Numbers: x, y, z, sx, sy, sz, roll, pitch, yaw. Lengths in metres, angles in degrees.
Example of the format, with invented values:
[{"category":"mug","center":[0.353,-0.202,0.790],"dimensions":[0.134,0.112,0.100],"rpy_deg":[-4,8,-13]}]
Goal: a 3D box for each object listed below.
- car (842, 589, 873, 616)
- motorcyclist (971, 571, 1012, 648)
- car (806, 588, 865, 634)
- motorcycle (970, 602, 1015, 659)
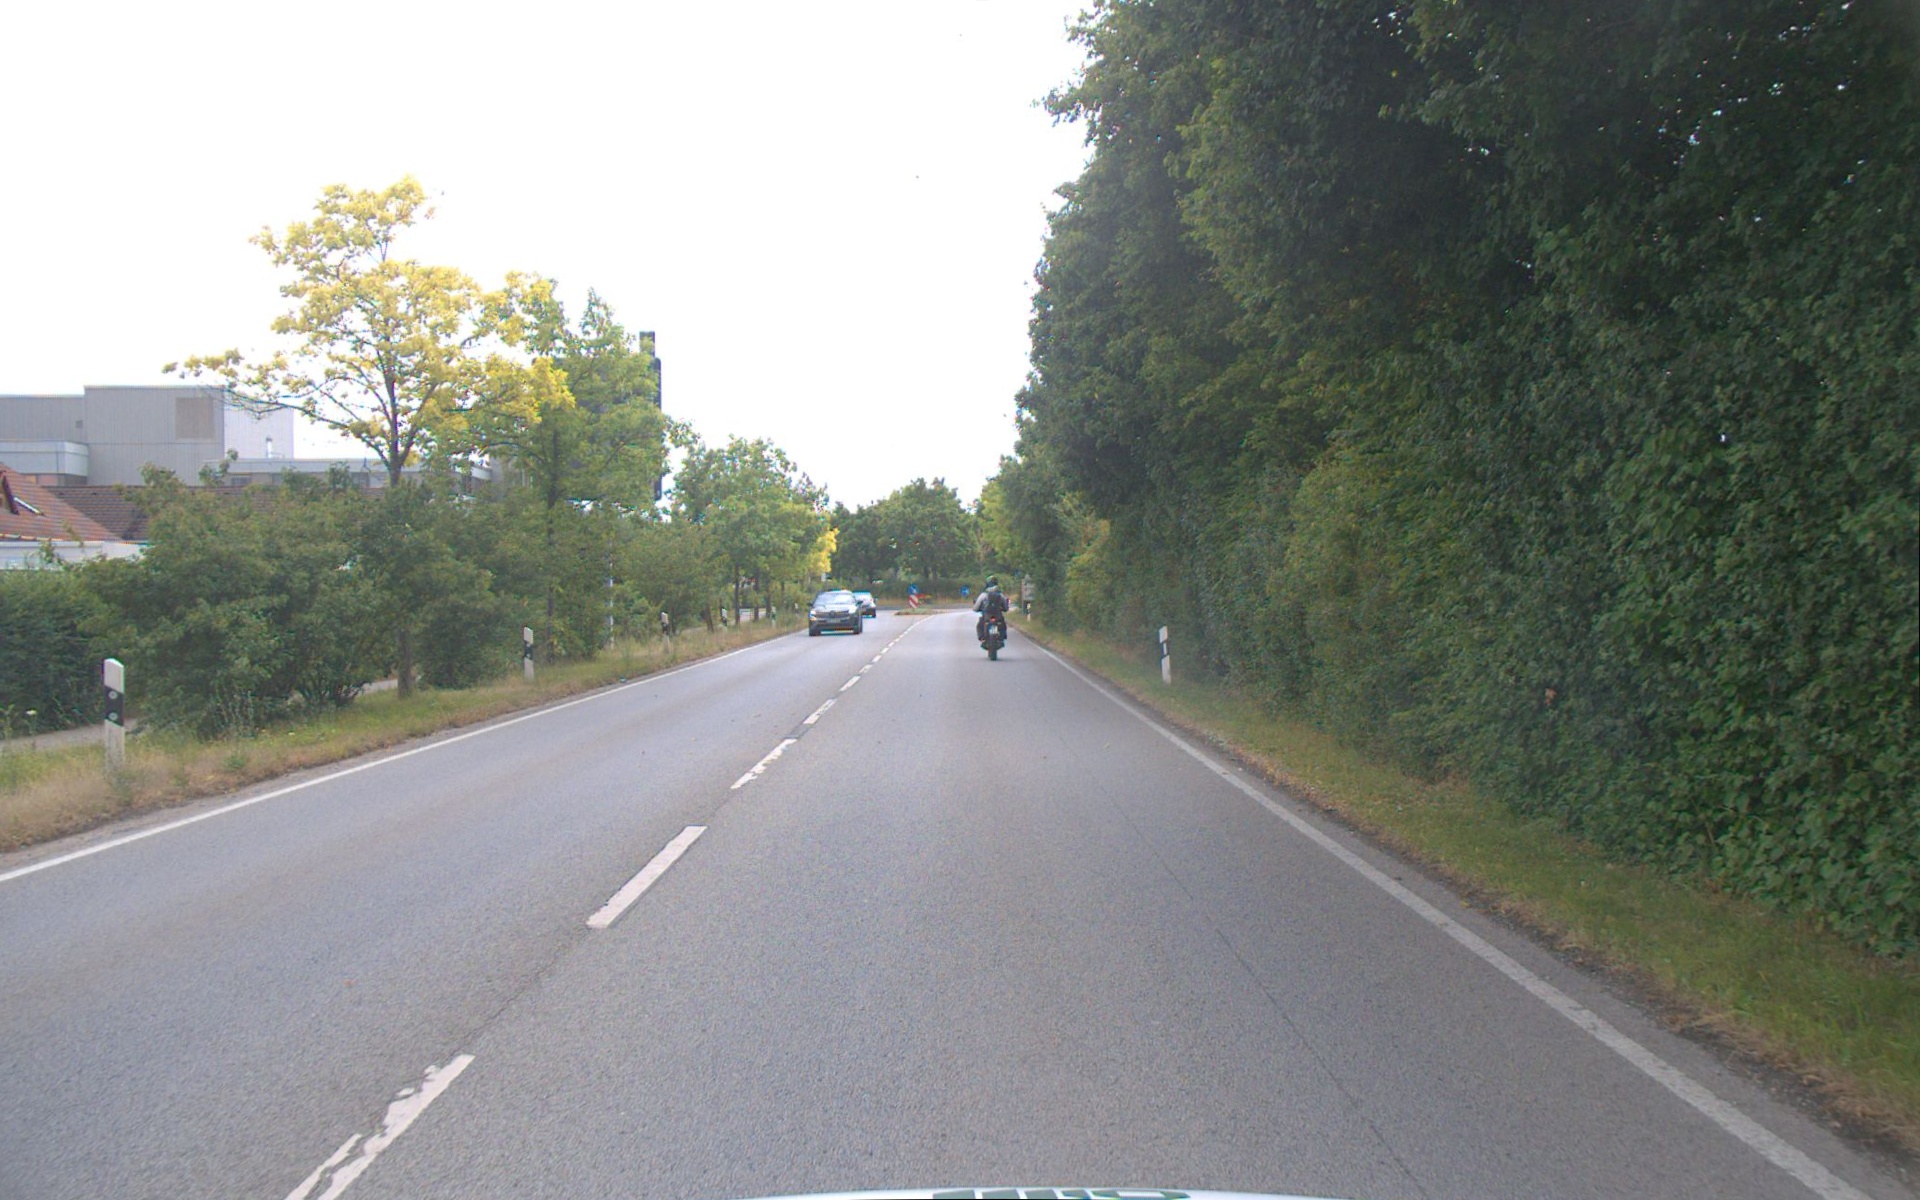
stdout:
[{"category":"car","center":[-5.868,0.117,95.108],"dimensions":[1.643,1.436,4.010],"rpy_deg":[-3,0,-3]},{"category":"motorcyclist","center":[0.685,0.202,36.480],"dimensions":[0.844,1.652,1.190],"rpy_deg":[-1,0,-1]},{"category":"car","center":[-4.392,0.356,58.795],"dimensions":[1.779,1.520,4.203],"rpy_deg":[-2,0,-1]},{"category":"motorcycle","center":[0.699,0.651,36.407],"dimensions":[0.878,1.178,2.620],"rpy_deg":[-1,0,-1]}]
